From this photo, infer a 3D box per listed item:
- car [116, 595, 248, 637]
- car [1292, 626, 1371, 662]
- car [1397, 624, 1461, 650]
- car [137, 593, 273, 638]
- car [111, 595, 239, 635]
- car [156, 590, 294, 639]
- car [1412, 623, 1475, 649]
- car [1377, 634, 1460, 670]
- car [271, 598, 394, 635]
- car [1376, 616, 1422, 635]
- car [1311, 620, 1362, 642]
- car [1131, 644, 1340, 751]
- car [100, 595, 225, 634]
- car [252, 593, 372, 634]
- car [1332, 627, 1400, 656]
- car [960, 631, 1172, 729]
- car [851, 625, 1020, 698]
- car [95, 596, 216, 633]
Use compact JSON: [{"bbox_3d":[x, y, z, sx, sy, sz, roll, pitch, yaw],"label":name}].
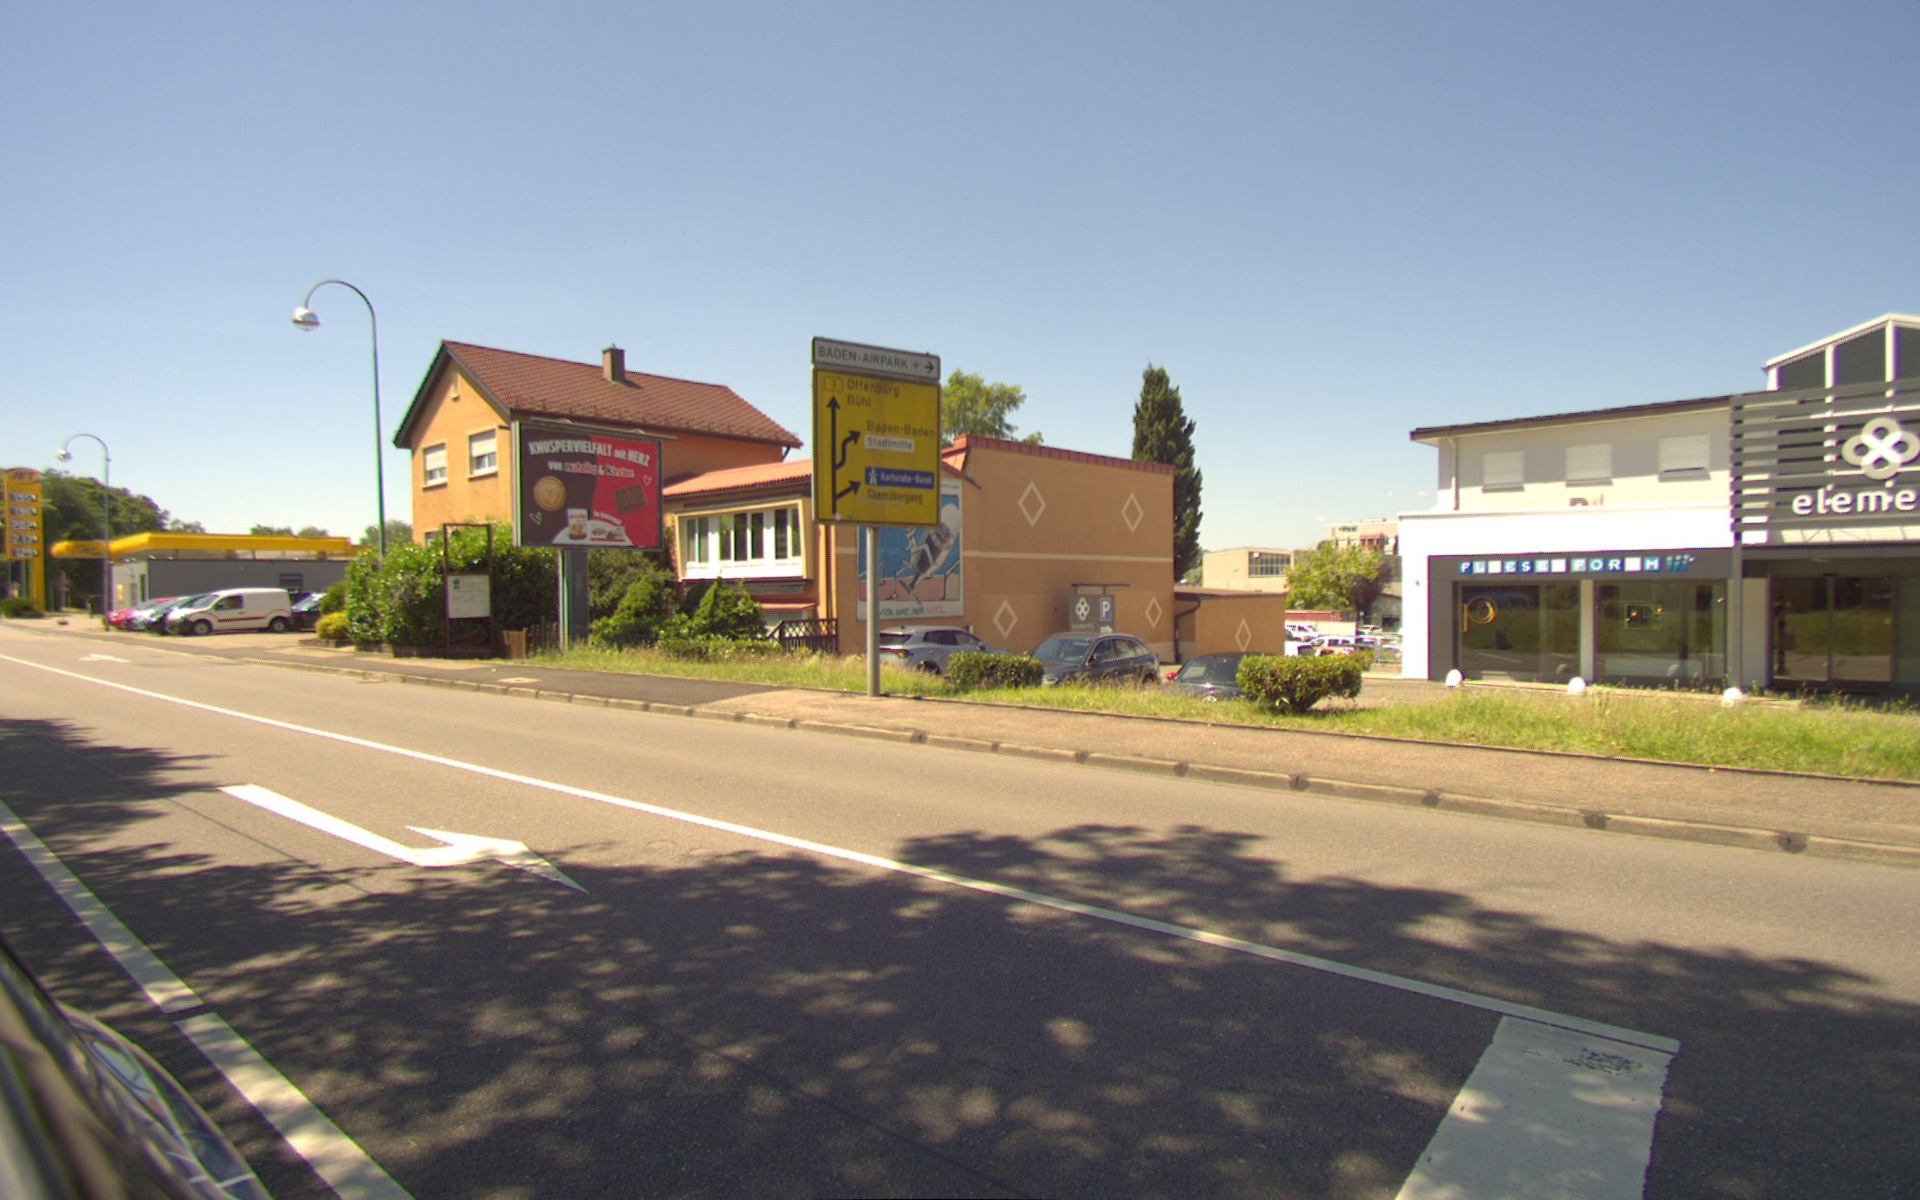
[{"bbox_3d":[-34.662,0.672,45.193,1.871,1.773,4.351,0,0,35],"label":"car"},{"bbox_3d":[22.263,2.615,60.763,4.001,2.029,1.971,0,0,44],"label":"car"},{"bbox_3d":[33.285,2.611,71.888,3.774,1.768,1.707,0,0,44],"label":"car"},{"bbox_3d":[-31.362,0.606,42.132,1.871,1.773,4.197,0,0,35],"label":"car"},{"bbox_3d":[-36.315,0.681,46.918,1.871,1.773,4.351,0,0,35],"label":"car"},{"bbox_3d":[-29.600,0.553,40.884,1.871,1.883,4.143,0,0,35],"label":"car"},{"bbox_3d":[35.268,2.590,73.858,3.774,1.768,1.707,0,0,44],"label":"car"},{"bbox_3d":[24.702,2.777,54.576,3.774,1.768,1.707,0,0,44],"label":"car"},{"bbox_3d":[-28.233,0.729,45.681,1.871,1.575,4.351,0,0,35],"label":"car"},{"bbox_3d":[43.065,2.479,99.228,3.774,1.768,1.707,0,0,44],"label":"car"},{"bbox_3d":[32.136,2.620,86.485,3.774,1.768,1.707,0,0,44],"label":"car"},{"bbox_3d":[4.977,1.630,18.012,4.038,1.544,1.773,0,-1,-43],"label":"car"},{"bbox_3d":[-37.976,0.671,48.311,1.871,1.773,4.351,0,0,35],"label":"car"},{"bbox_3d":[-30.043,0.601,47.033,1.871,1.839,4.351,0,0,35],"label":"car"},{"bbox_3d":[26.421,2.685,65.859,3.774,1.768,1.707,0,0,44],"label":"car"},{"bbox_3d":[2.228,1.504,20.342,4.461,1.654,1.773,0,-1,-43],"label":"car"},{"bbox_3d":[-0.558,1.485,25.613,4.165,1.621,1.773,0,-1,-42],"label":"car"},{"bbox_3d":[-39.712,0.704,50.042,1.871,1.773,4.351,0,0,35],"label":"car"}]
